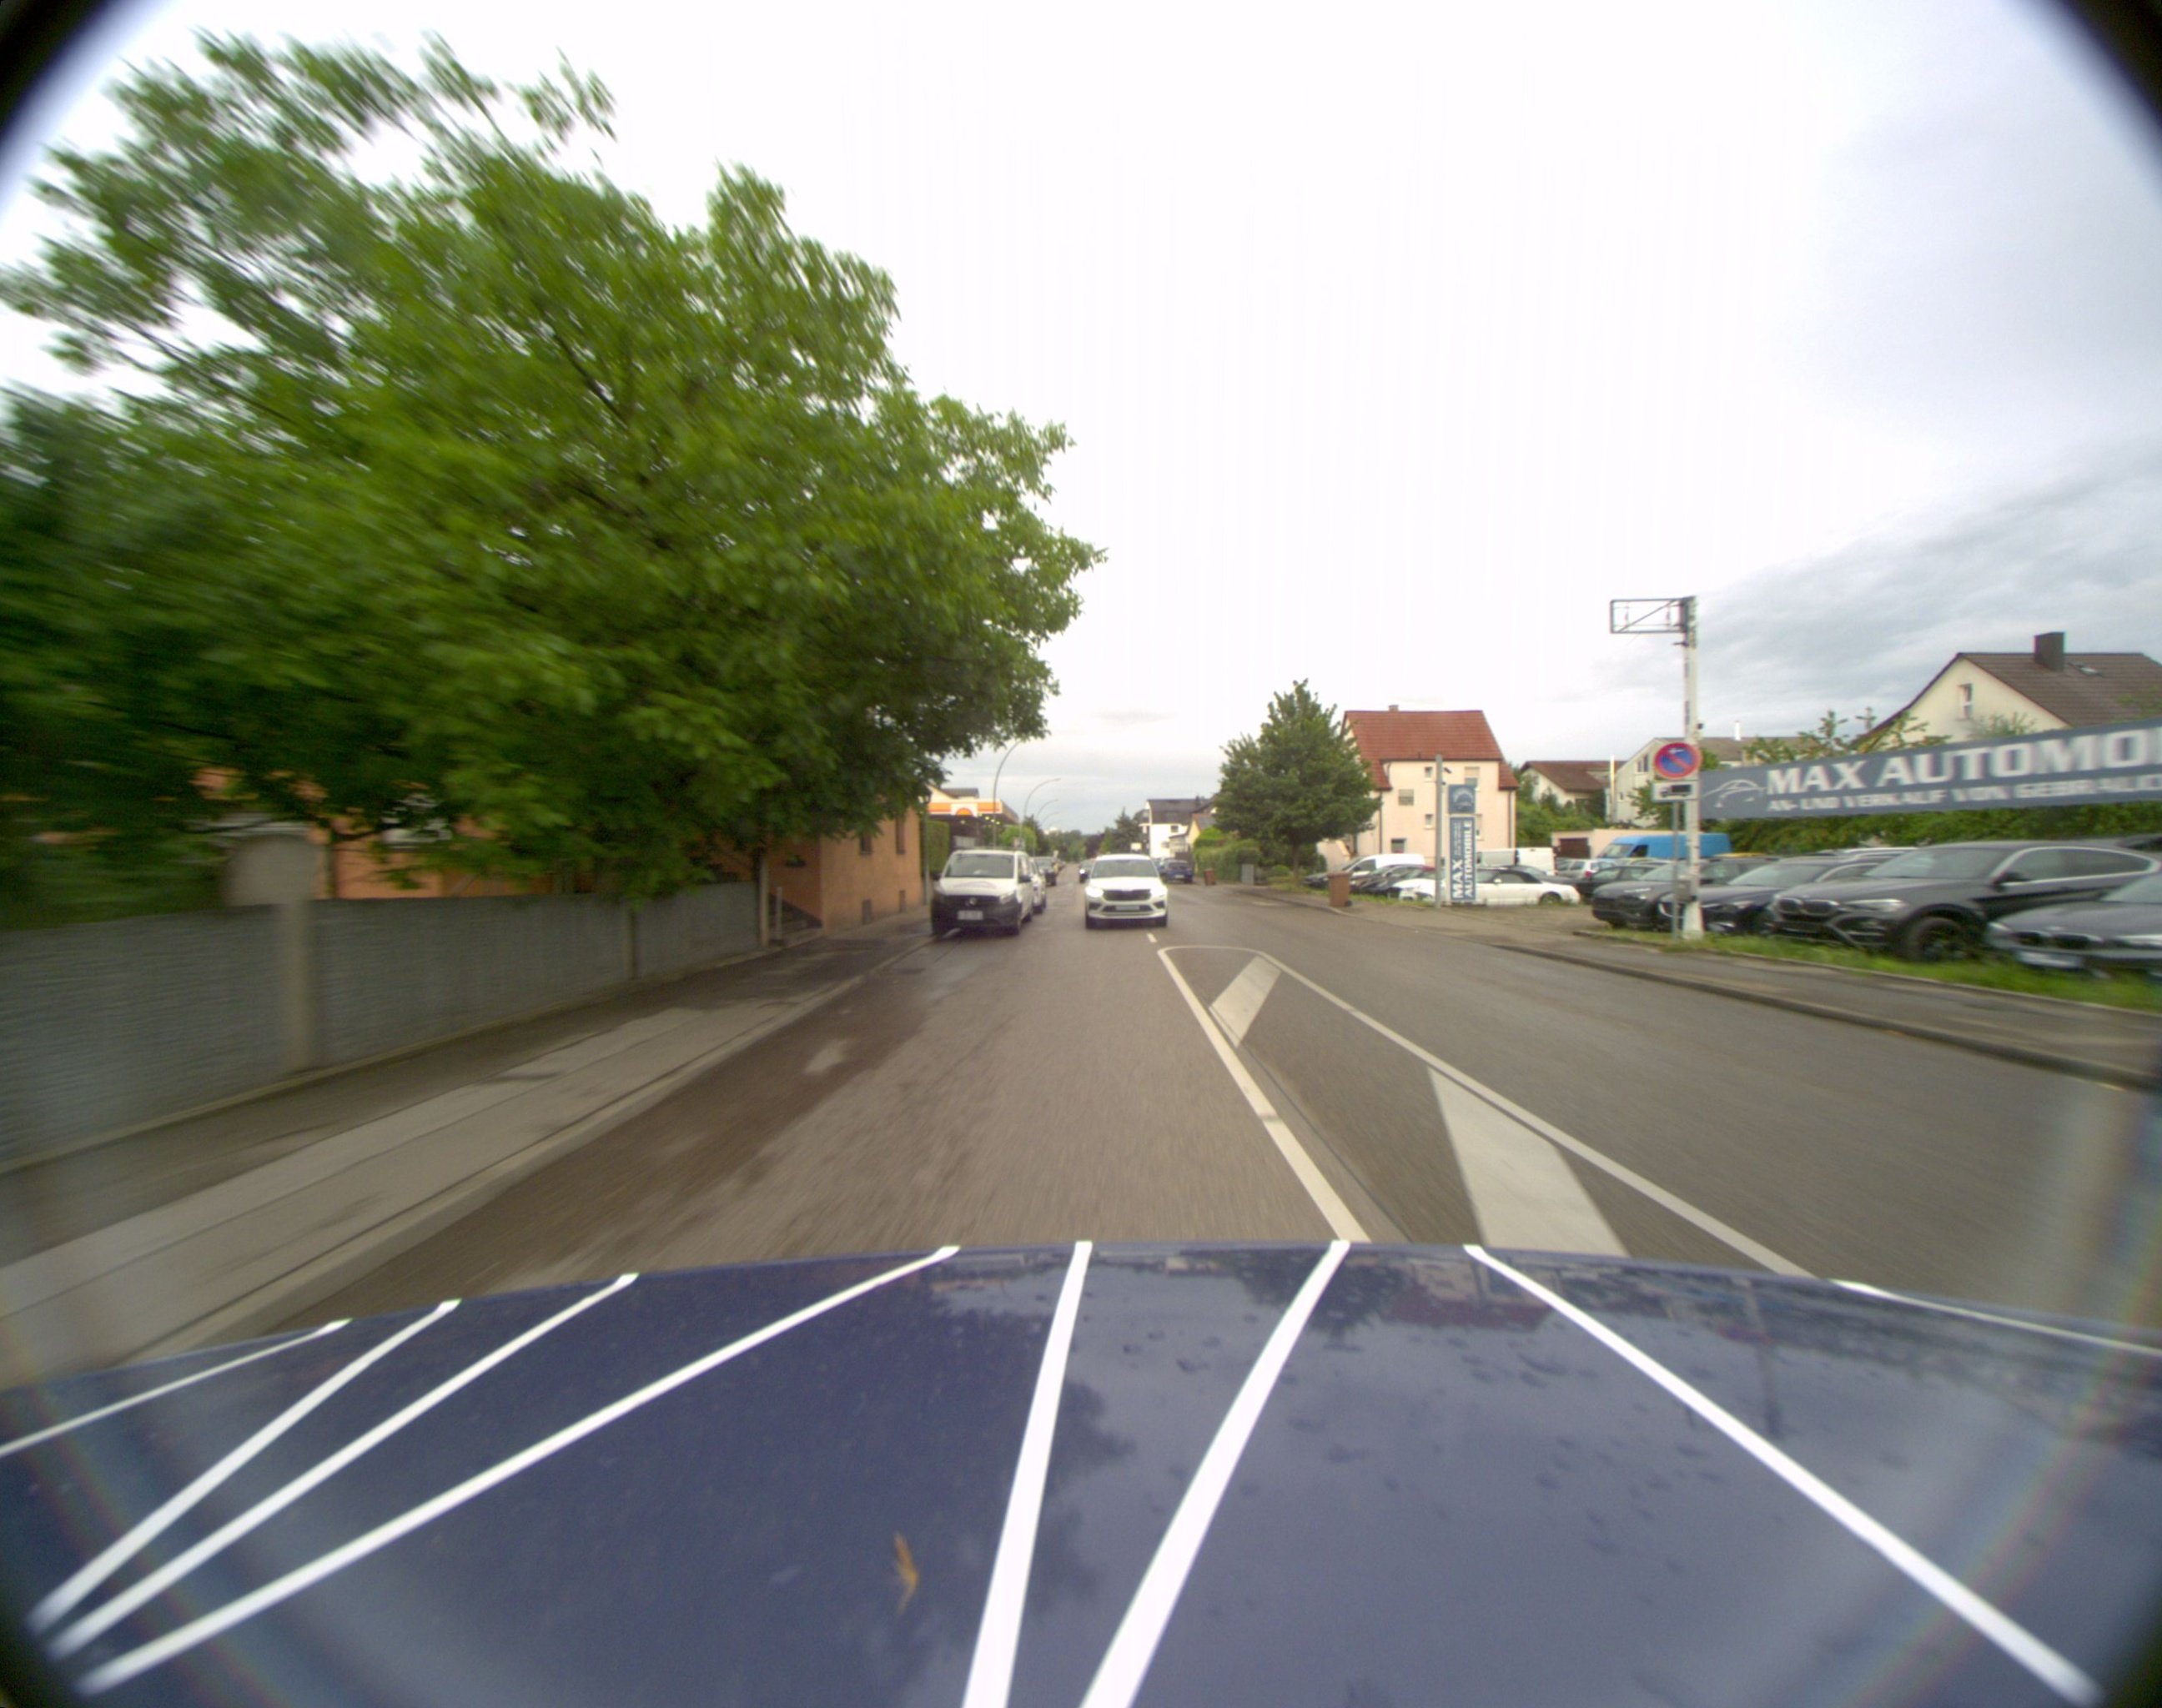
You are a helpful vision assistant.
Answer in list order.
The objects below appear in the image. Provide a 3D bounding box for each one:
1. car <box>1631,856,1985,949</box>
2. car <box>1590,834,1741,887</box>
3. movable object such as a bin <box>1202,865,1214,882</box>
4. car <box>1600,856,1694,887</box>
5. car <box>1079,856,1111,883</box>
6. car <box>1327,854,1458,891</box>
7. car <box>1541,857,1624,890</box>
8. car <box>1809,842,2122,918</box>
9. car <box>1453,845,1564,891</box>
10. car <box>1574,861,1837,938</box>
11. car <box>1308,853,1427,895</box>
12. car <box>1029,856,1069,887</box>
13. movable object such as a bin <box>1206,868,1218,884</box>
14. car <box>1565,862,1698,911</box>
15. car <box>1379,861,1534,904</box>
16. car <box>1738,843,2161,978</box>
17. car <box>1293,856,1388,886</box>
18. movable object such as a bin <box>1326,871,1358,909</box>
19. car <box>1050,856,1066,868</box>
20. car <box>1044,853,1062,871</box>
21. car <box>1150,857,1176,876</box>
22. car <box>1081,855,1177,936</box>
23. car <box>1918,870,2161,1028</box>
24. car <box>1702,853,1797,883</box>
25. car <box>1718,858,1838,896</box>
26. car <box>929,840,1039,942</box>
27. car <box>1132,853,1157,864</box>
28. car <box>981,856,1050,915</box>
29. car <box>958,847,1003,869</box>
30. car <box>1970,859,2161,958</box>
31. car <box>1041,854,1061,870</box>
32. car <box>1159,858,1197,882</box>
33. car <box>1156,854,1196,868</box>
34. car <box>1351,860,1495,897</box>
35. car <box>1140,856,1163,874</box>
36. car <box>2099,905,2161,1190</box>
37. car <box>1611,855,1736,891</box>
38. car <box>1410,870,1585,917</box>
[{"bbox_3d":[12.536,0.787,13.334,4.358,1.455,1.941,-1,0,0],"label":"car"},{"bbox_3d":[27.865,0.307,36.348,5.685,2.361,2.047,-1,0,-1],"label":"car"},{"bbox_3d":[7.278,1.121,43.544,0.541,0.905,0.505,-3,1,-2],"label":"movable object such as a bin"},{"bbox_3d":[25.202,0.748,33.883,3.232,1.325,1.337,0,0,-3],"label":"car"},{"bbox_3d":[0.824,0.960,47.590,1.778,1.552,3.999,-2,0,-2],"label":"car"},{"bbox_3d":[12.621,0.725,30.935,4.571,1.410,1.897,0,0,-5],"label":"car"},{"bbox_3d":[21.457,0.815,32.642,1.389,1.325,3.115,0,0,-3],"label":"car"},{"bbox_3d":[18.848,0.536,16.465,3.991,1.491,1.940,-1,0,18],"label":"car"},{"bbox_3d":[19.288,0.595,34.587,1.999,1.919,5.052,0,0,-3],"label":"car"},{"bbox_3d":[12.962,0.915,15.960,3.997,1.455,1.839,-1,0,0],"label":"car"},{"bbox_3d":[12.590,0.846,33.567,4.571,1.779,1.897,0,0,-5],"label":"car"},{"bbox_3d":[-1.854,0.998,44.772,2.096,1.652,4.559,-2,-1,0],"label":"car"},{"bbox_3d":[7.418,1.245,43.083,0.541,0.905,0.424,-3,1,-2],"label":"movable object such as a bin"},{"bbox_3d":[17.647,0.991,24.502,1.340,1.407,3.227,0,0,-24],"label":"car"},{"bbox_3d":[12.779,0.953,26.019,4.388,1.366,1.889,0,0,-1],"label":"car"},{"bbox_3d":[12.375,0.716,10.759,4.358,1.681,2.058,-1,0,0],"label":"car"},{"bbox_3d":[12.248,0.801,35.996,3.923,1.364,1.760,0,0,-5],"label":"car"},{"bbox_3d":[7.962,1.085,23.212,0.710,1.123,0.735,-1,1,0],"label":"movable object such as a bin"},{"bbox_3d":[-3.018,1.007,98.915,1.999,1.586,3.999,0,0,-2],"label":"car"},{"bbox_3d":[-2.819,0.796,76.777,1.660,1.728,4.444,-3,0,-1],"label":"car"},{"bbox_3d":[6.304,0.971,58.946,1.550,1.395,3.596,1,0,-1],"label":"car"},{"bbox_3d":[0.973,0.874,17.916,1.884,1.650,4.830,0,-1,-1],"label":"car"},{"bbox_3d":[12.232,0.908,8.148,4.358,1.423,1.959,-1,0,0],"label":"car"},{"bbox_3d":[30.178,0.607,34.333,3.232,1.325,1.337,0,0,-3],"label":"car"},{"bbox_3d":[25.289,0.818,27.608,3.232,1.325,1.337,0,0,-3],"label":"car"},{"bbox_3d":[-2.109,0.791,17.889,1.782,2.017,4.755,-2,-1,2],"label":"car"},{"bbox_3d":[11.113,0.726,132.264,3.998,1.637,2.000,-4,0,-3],"label":"car"},{"bbox_3d":[-1.971,0.921,24.092,1.870,1.655,4.319,-1,0,-1],"label":"car"},{"bbox_3d":[-11.909,0.466,89.967,4.810,2.505,2.243,0,0,-23],"label":"car"},{"bbox_3d":[17.643,0.861,12.342,1.695,1.521,4.000,0,0,0],"label":"car"},{"bbox_3d":[-2.584,0.685,66.681,1.660,1.393,3.801,-1,0,-1],"label":"car"},{"bbox_3d":[6.106,0.977,48.284,1.811,1.395,3.944,1,0,-1],"label":"car"},{"bbox_3d":[10.502,0.753,84.155,4.096,1.505,1.882,0,0,-5],"label":"car"},{"bbox_3d":[12.708,0.903,28.423,4.569,1.302,1.889,0,0,-1],"label":"car"},{"bbox_3d":[6.206,0.926,66.772,1.613,1.497,3.707,1,0,-1],"label":"car"},{"bbox_3d":[6.245,0.983,2.217,1.630,1.425,3.683,0,0,1],"label":"car"},{"bbox_3d":[21.924,0.664,28.289,1.664,1.228,3.531,-1,0,-7],"label":"car"},{"bbox_3d":[12.795,1.187,23.496,4.463,1.324,1.771,0,0,-1],"label":"car"}]
